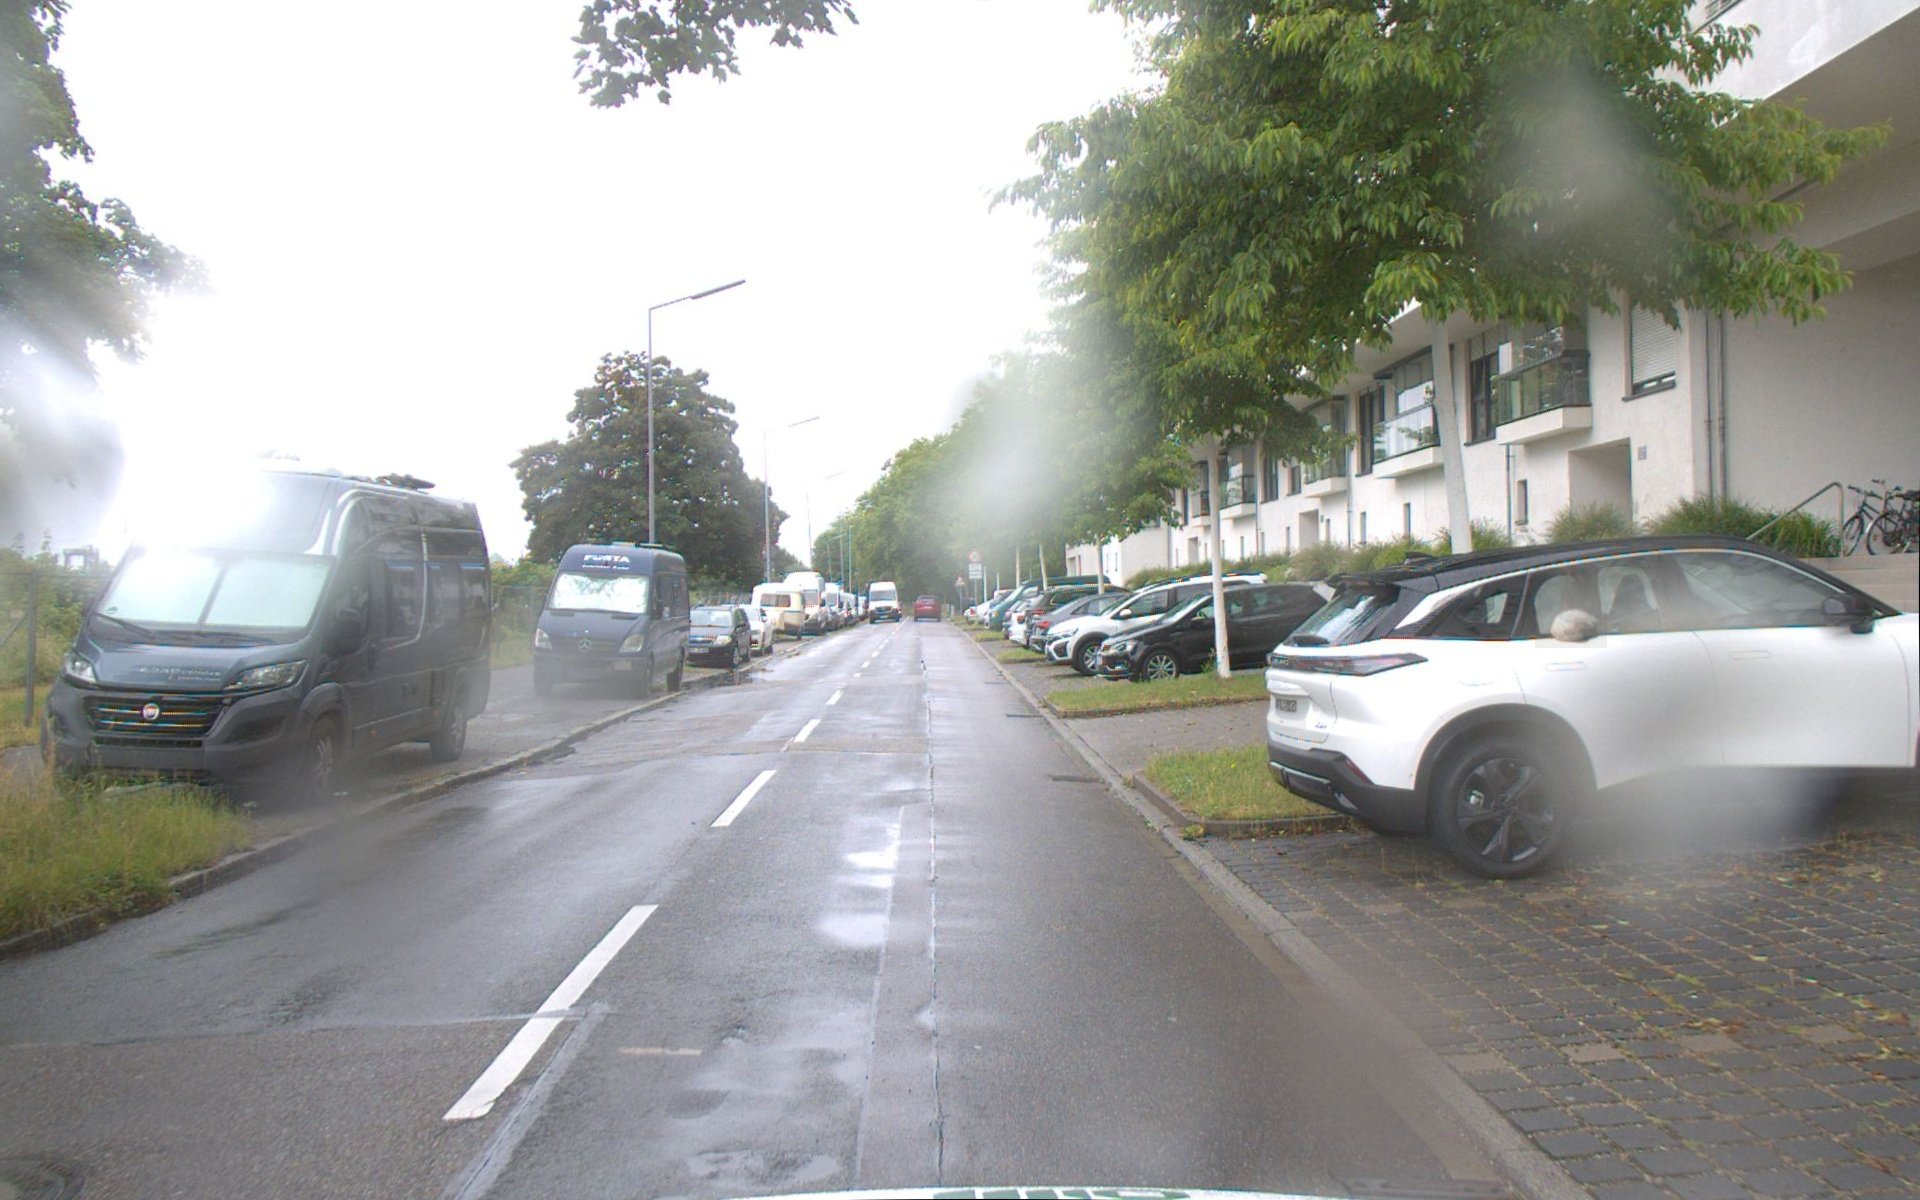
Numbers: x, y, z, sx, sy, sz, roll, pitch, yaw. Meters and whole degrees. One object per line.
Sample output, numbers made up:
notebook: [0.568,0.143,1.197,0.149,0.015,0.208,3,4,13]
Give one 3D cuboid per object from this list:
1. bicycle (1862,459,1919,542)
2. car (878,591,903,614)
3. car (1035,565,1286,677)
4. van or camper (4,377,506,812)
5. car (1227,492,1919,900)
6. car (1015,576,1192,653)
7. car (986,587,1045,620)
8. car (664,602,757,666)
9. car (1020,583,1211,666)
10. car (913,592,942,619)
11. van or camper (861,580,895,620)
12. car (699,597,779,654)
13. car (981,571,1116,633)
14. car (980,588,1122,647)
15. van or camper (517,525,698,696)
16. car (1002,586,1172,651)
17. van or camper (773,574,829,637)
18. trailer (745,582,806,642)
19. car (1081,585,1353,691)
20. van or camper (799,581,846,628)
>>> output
bicycle: [14.741,-1.443,23.855,2.893,1.138,0.916,0,0,15]
car: [-5.513,0.217,131.538,1.843,1.788,4.067,-1,0,0]
car: [3.747,0.377,31.486,4.388,1.716,1.935,-4,1,-3]
van or camper: [-6.056,-0.001,15.372,2.052,3.148,6.420,1,-1,-2]
car: [3.994,0.413,9.421,4.452,1.714,1.884,-6,0,-4]
car: [3.536,0.357,41.118,4.080,1.652,1.896,-3,0,-4]
car: [3.967,0.241,118.980,3.904,2.333,1.777,0,0,19]
car: [-6.396,0.842,42.872,1.738,1.529,4.826,1,0,-1]
car: [3.336,0.509,35.924,3.907,1.536,1.684,-3,1,-2]
car: [-2.186,0.373,109.950,1.721,1.735,3.997,-2,0,-3]
van or camper: [-5.450,-0.006,110.773,1.953,2.541,7.177,-2,0,-1]
car: [-6.558,0.732,49.519,1.849,1.552,5.107,1,0,-2]
car: [3.127,0.059,58.767,4.529,2.055,1.856,-1,0,-6]
car: [2.646,0.508,48.777,3.952,1.525,1.630,-3,0,-5]
van or camper: [-6.402,0.218,31.032,2.053,2.763,7.569,1,-1,-3]
car: [3.301,0.468,43.454,4.214,1.453,1.636,-3,0,-4]
van or camper: [-7.417,0.248,77.835,1.953,2.810,7.896,0,0,-1]
trailer: [-7.240,0.442,65.449,2.018,2.256,5.791,0,0,-3]
car: [4.002,0.563,26.168,3.909,1.522,1.935,-1,0,-5]
van or camper: [-7.594,0.277,91.814,2.145,2.505,6.375,0,0,-1]
